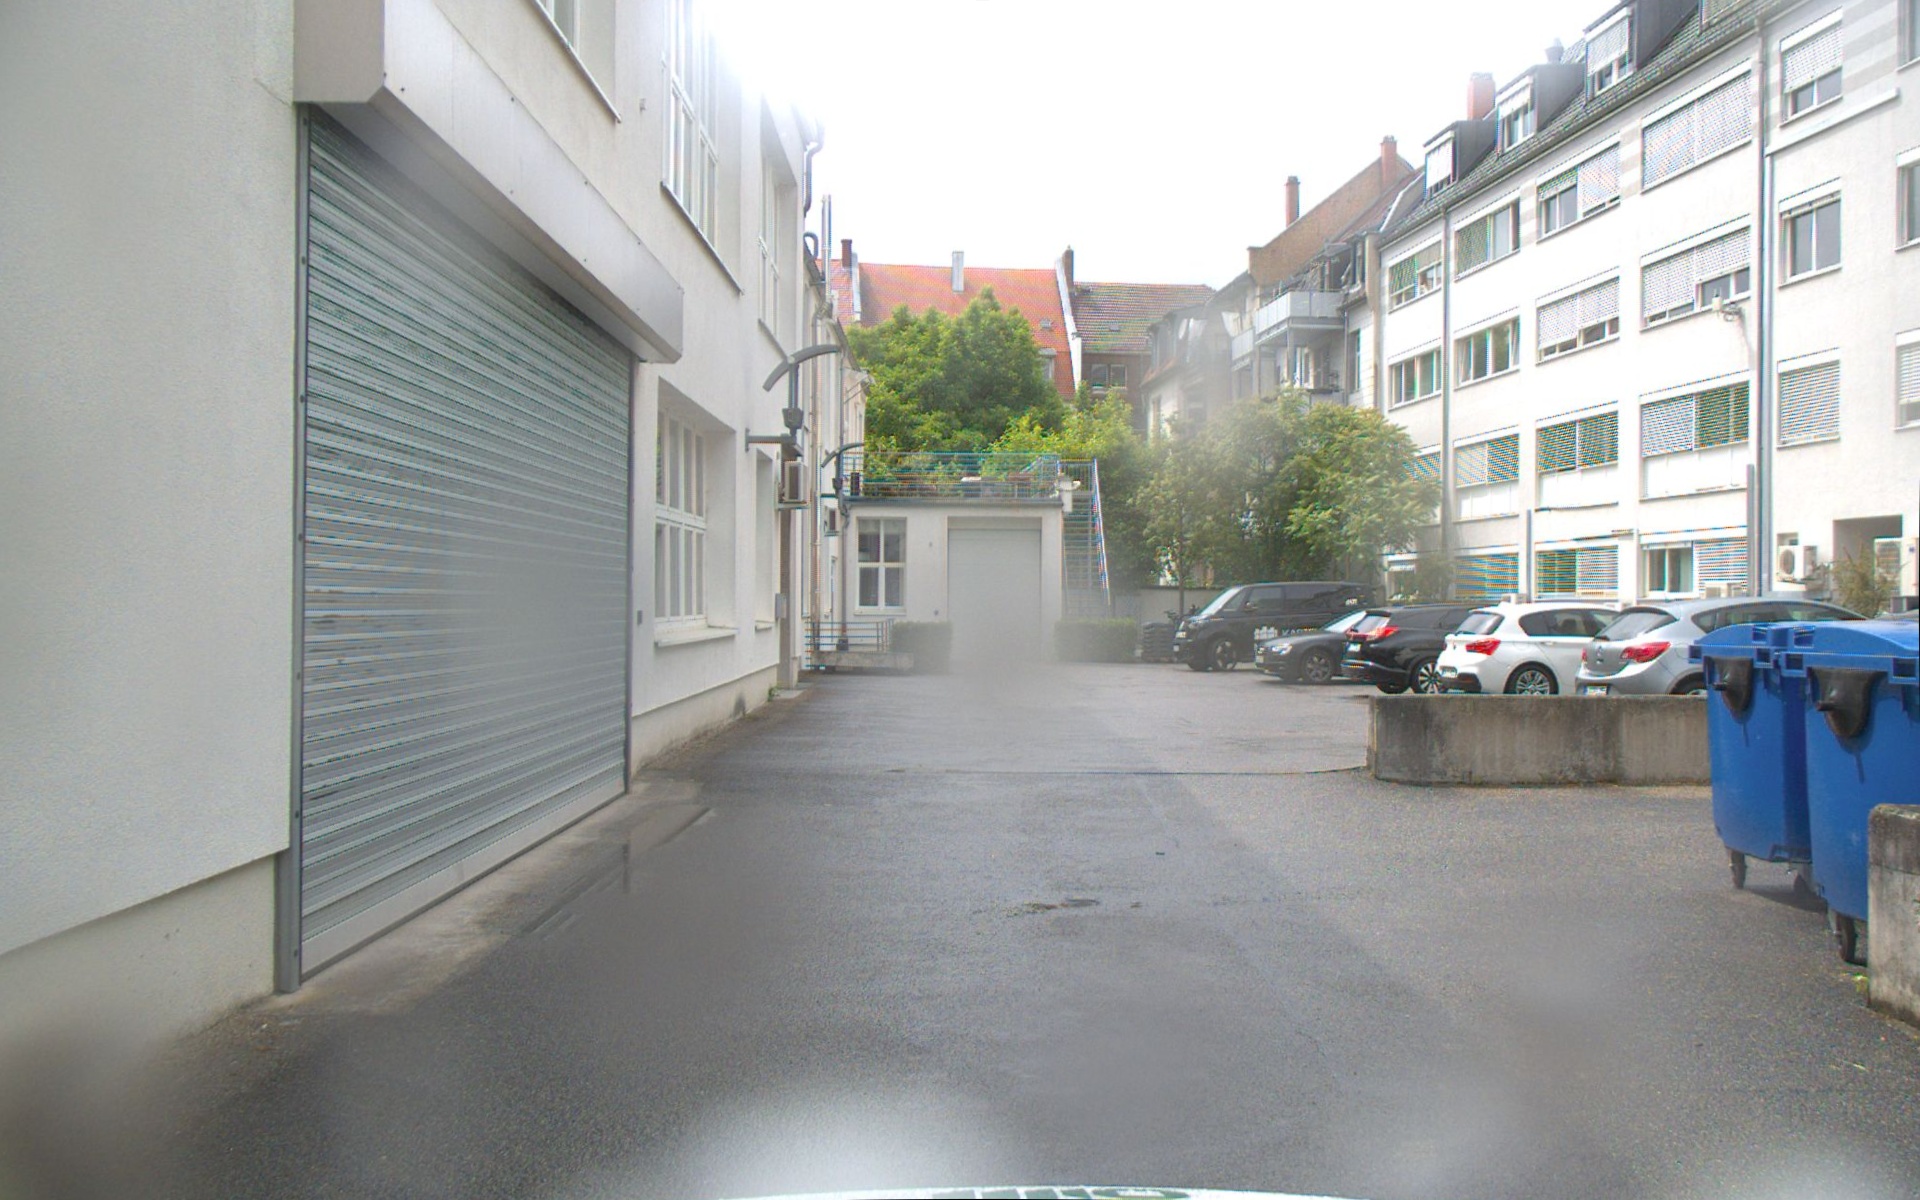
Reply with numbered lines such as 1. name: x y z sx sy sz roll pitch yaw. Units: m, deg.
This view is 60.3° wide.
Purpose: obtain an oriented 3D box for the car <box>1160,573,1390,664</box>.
1. car: 6.963 0.390 36.833 4.620 1.865 2.107 -1 0 -7

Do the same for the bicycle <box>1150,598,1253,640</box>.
1. bicycle: 6.815 0.525 46.781 2.787 1.097 0.689 1 1 -4

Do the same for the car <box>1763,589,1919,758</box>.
1. car: 9.606 0.569 14.841 3.906 1.378 1.790 -2 0 -1

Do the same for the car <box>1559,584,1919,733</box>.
1. car: 8.757 0.600 17.817 3.999 1.483 1.666 -1 -1 -4

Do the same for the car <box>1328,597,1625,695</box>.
1. car: 8.179 0.702 26.396 4.091 1.425 1.936 -1 0 -7

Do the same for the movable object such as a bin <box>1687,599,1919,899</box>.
1. movable object such as a bin: 4.385 0.679 8.078 1.204 1.340 1.055 -1 1 -1

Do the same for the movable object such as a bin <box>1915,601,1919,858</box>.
1. movable object such as a bin: 5.609 0.680 8.147 1.204 1.340 1.055 -1 1 -1

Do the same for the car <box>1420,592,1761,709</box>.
1. car: 8.656 0.665 22.904 4.017 1.481 1.831 -1 0 -5

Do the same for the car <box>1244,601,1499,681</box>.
1. car: 7.670 0.740 31.028 4.271 1.372 1.857 -1 1 -7

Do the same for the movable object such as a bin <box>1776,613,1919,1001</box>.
1. movable object such as a bin: 3.971 0.750 6.312 1.150 1.340 1.055 1 1 -1
